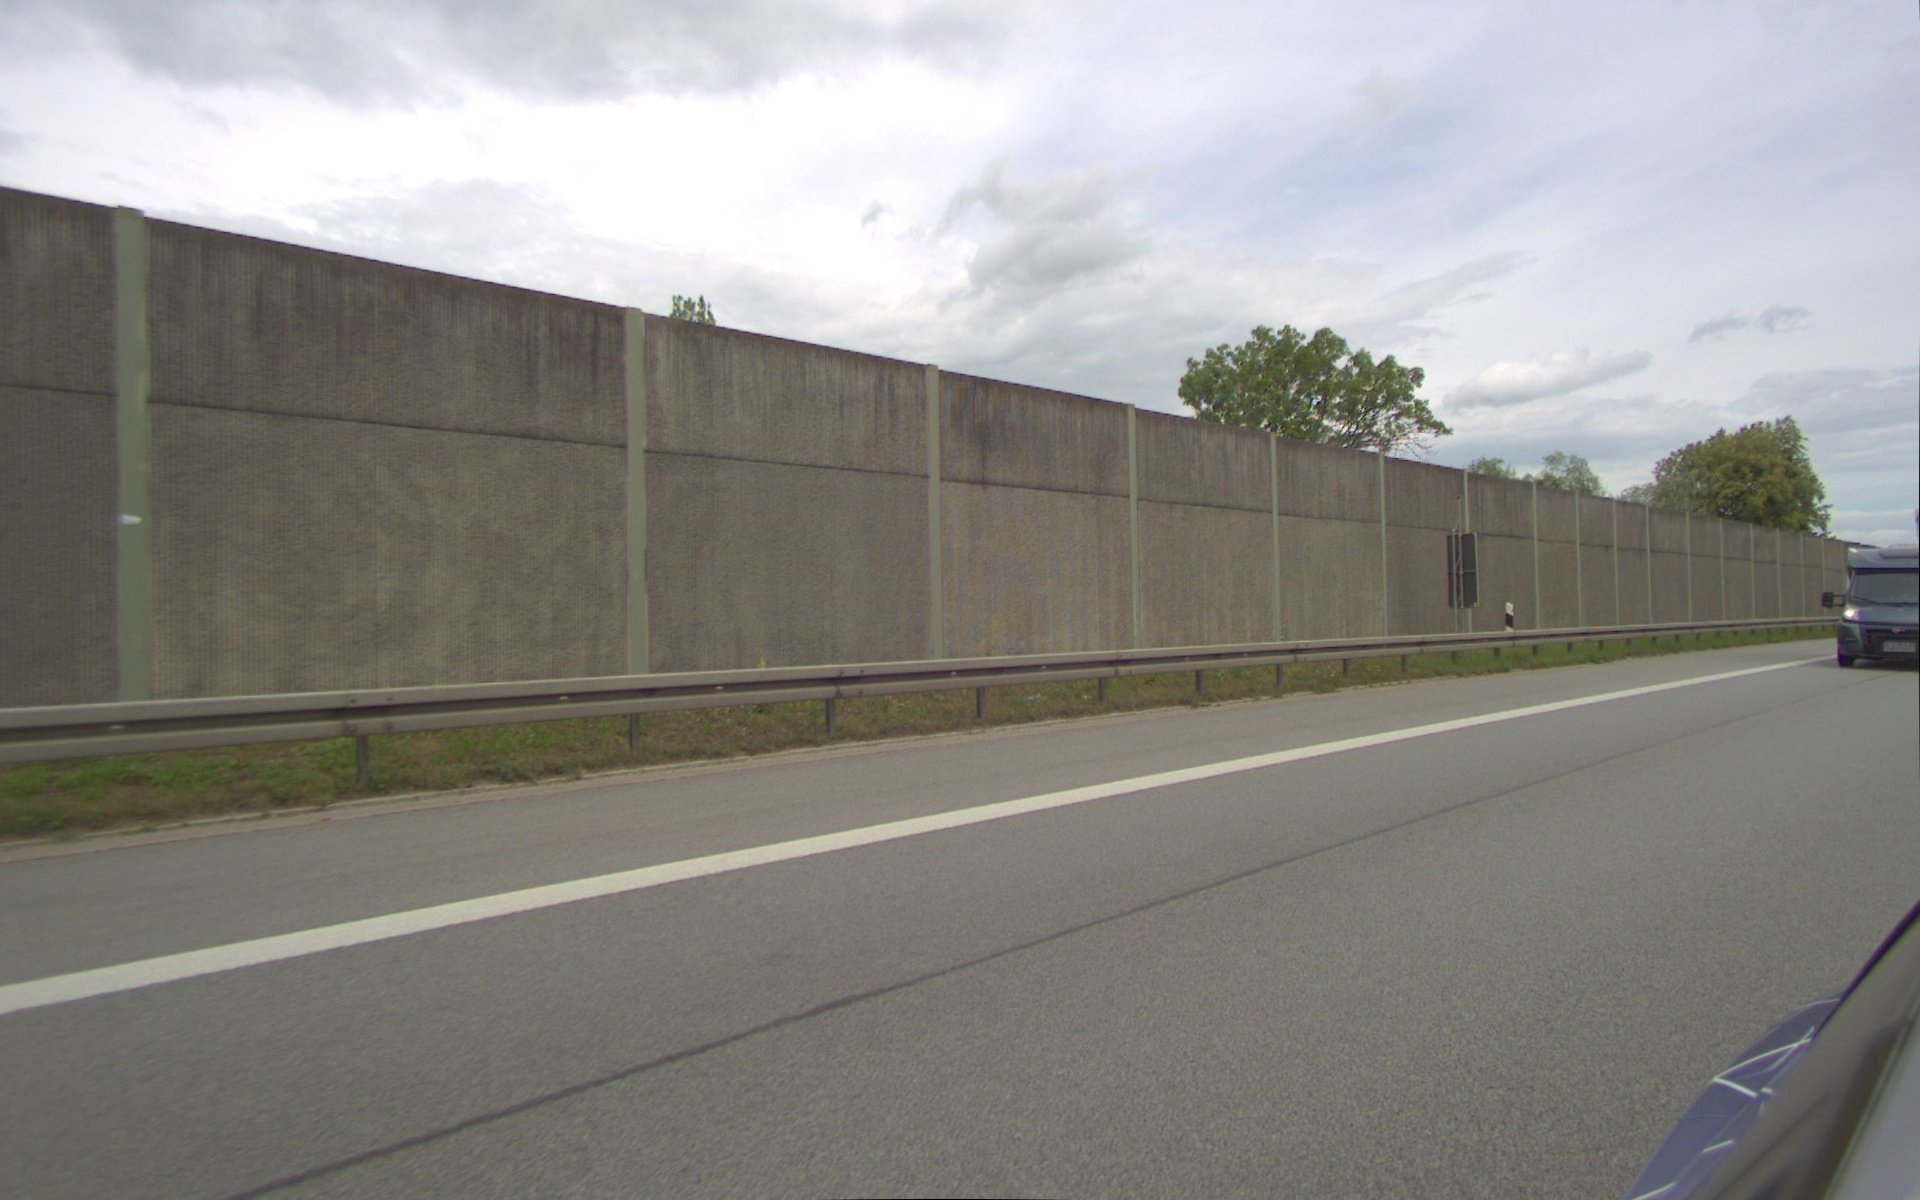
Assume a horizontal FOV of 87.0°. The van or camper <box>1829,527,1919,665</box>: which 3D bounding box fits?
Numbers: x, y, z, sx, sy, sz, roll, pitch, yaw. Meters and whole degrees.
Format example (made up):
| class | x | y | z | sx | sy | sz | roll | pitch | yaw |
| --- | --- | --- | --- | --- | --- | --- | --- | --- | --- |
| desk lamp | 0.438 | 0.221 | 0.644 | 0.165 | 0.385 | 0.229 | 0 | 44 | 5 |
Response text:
| class | x | y | z | sx | sy | sz | roll | pitch | yaw |
| --- | --- | --- | --- | --- | --- | --- | --- | --- | --- |
| van or camper | 21.600 | -0.082 | 22.321 | 7.094 | 2.731 | 2.435 | 0 | 0 | -39 |
